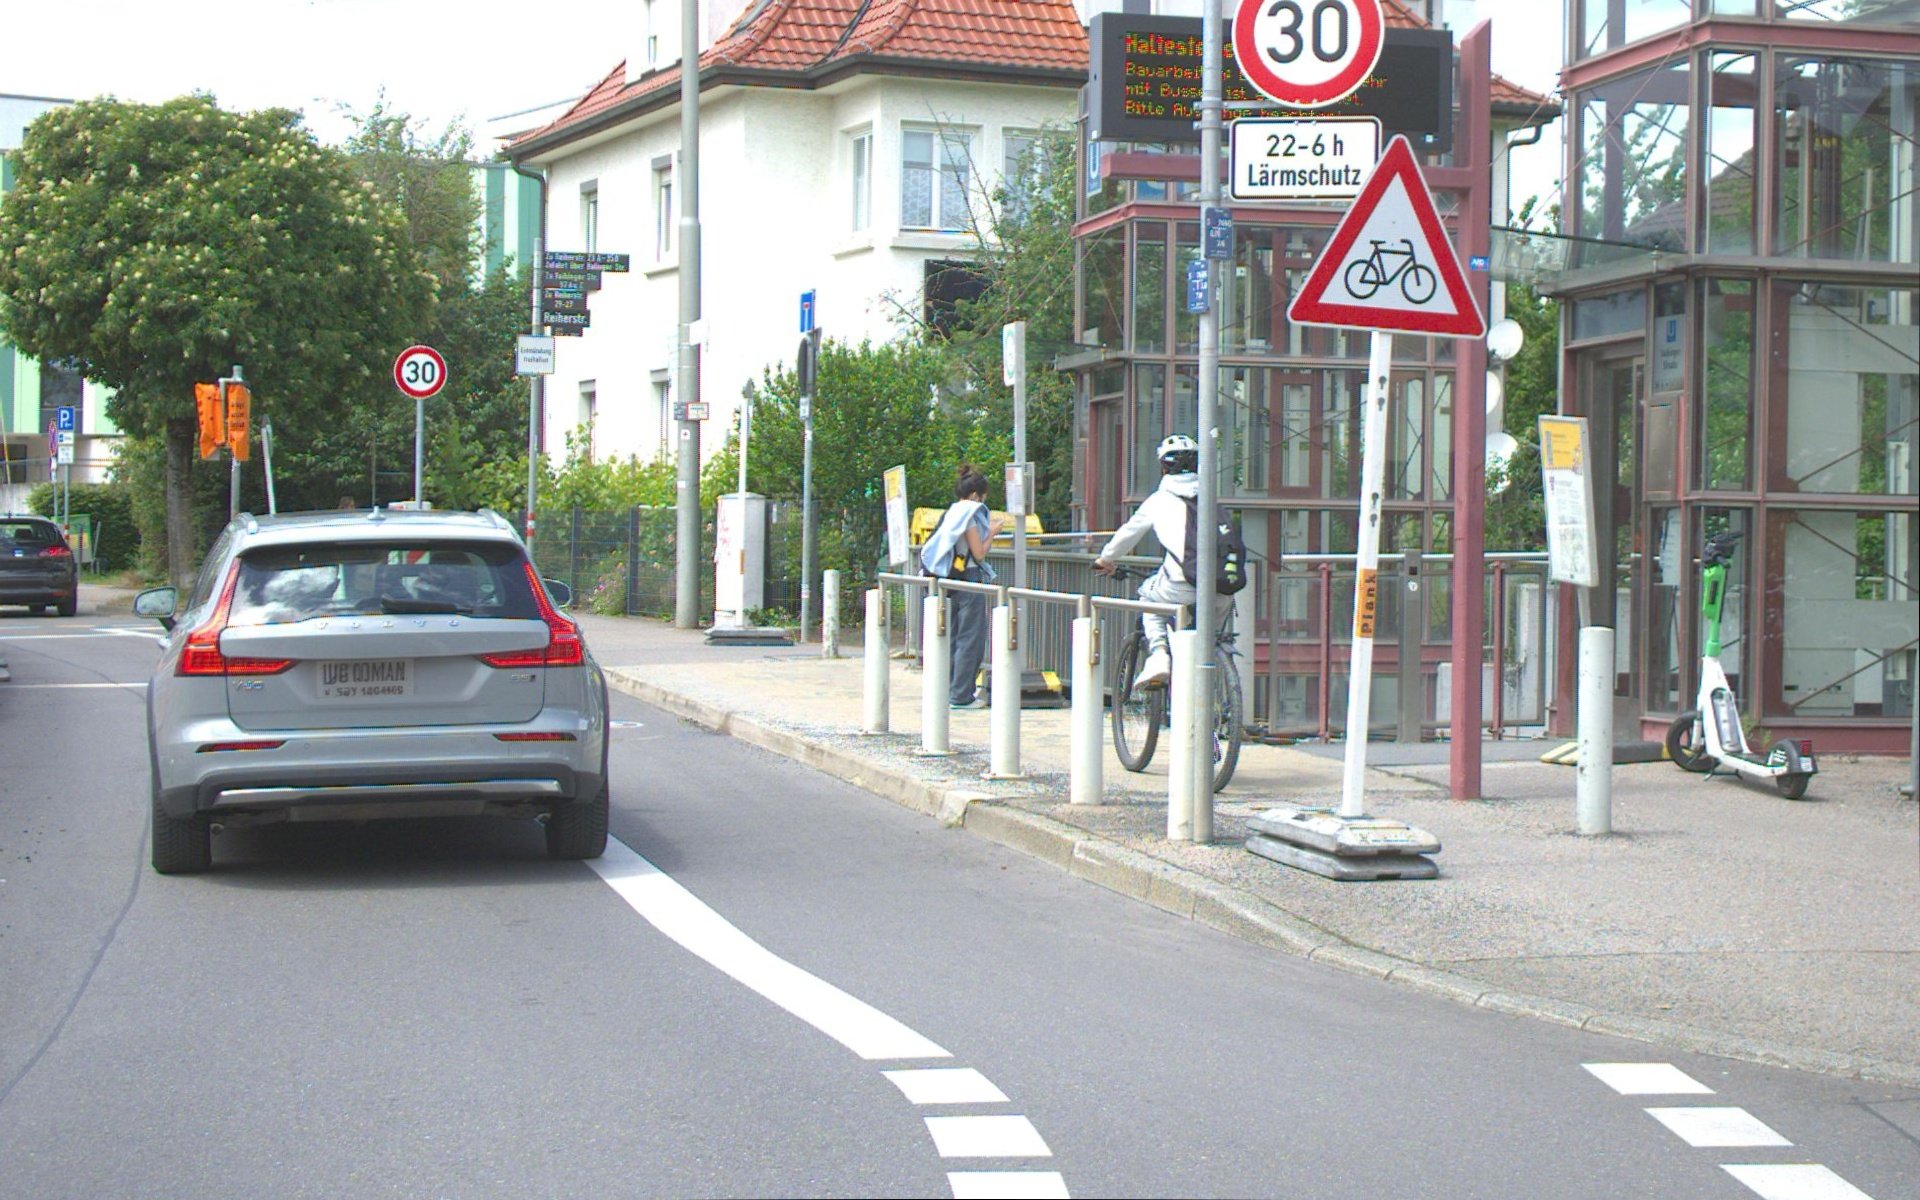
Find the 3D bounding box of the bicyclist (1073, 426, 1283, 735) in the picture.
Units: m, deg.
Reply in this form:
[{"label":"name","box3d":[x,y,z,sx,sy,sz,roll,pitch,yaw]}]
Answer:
[{"label":"bicyclist","box3d":[1.021,-0.107,16.351,0.656,1.411,1.179,1,2,-13]}]

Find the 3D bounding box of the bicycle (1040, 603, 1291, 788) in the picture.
[{"label":"bicycle","box3d":[0.956,0.435,16.554,0.635,0.751,2.063,1,2,-13]}]

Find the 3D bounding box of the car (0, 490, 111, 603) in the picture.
[{"label":"car","box3d":[-13.321,-0.775,48.508,1.854,1.508,4.001,1,1,-25]}]

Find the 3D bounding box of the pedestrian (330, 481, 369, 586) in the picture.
[{"label":"pedestrian","box3d":[-9.044,-0.986,50.908,0.520,1.534,0.636,0,2,-15]}]

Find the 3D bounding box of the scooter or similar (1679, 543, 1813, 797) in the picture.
[{"label":"scooter or similar","box3d":[3.710,0.313,16.270,0.215,1.108,0.947,0,5,-12]}]

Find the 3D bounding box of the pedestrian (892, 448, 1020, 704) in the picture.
[{"label":"pedestrian","box3d":[-0.030,-0.152,22.128,0.597,1.577,0.401,6,-2,-13]}]

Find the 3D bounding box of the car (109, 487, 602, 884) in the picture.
[{"label":"car","box3d":[-2.511,0.264,15.138,1.854,1.508,4.001,0,2,-6]}]

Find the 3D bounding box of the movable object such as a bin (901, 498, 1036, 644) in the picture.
[{"label":"movable object such as a bin","box3d":[0.080,-0.307,35.634,1.268,1.465,1.005,1,1,-6]}]
